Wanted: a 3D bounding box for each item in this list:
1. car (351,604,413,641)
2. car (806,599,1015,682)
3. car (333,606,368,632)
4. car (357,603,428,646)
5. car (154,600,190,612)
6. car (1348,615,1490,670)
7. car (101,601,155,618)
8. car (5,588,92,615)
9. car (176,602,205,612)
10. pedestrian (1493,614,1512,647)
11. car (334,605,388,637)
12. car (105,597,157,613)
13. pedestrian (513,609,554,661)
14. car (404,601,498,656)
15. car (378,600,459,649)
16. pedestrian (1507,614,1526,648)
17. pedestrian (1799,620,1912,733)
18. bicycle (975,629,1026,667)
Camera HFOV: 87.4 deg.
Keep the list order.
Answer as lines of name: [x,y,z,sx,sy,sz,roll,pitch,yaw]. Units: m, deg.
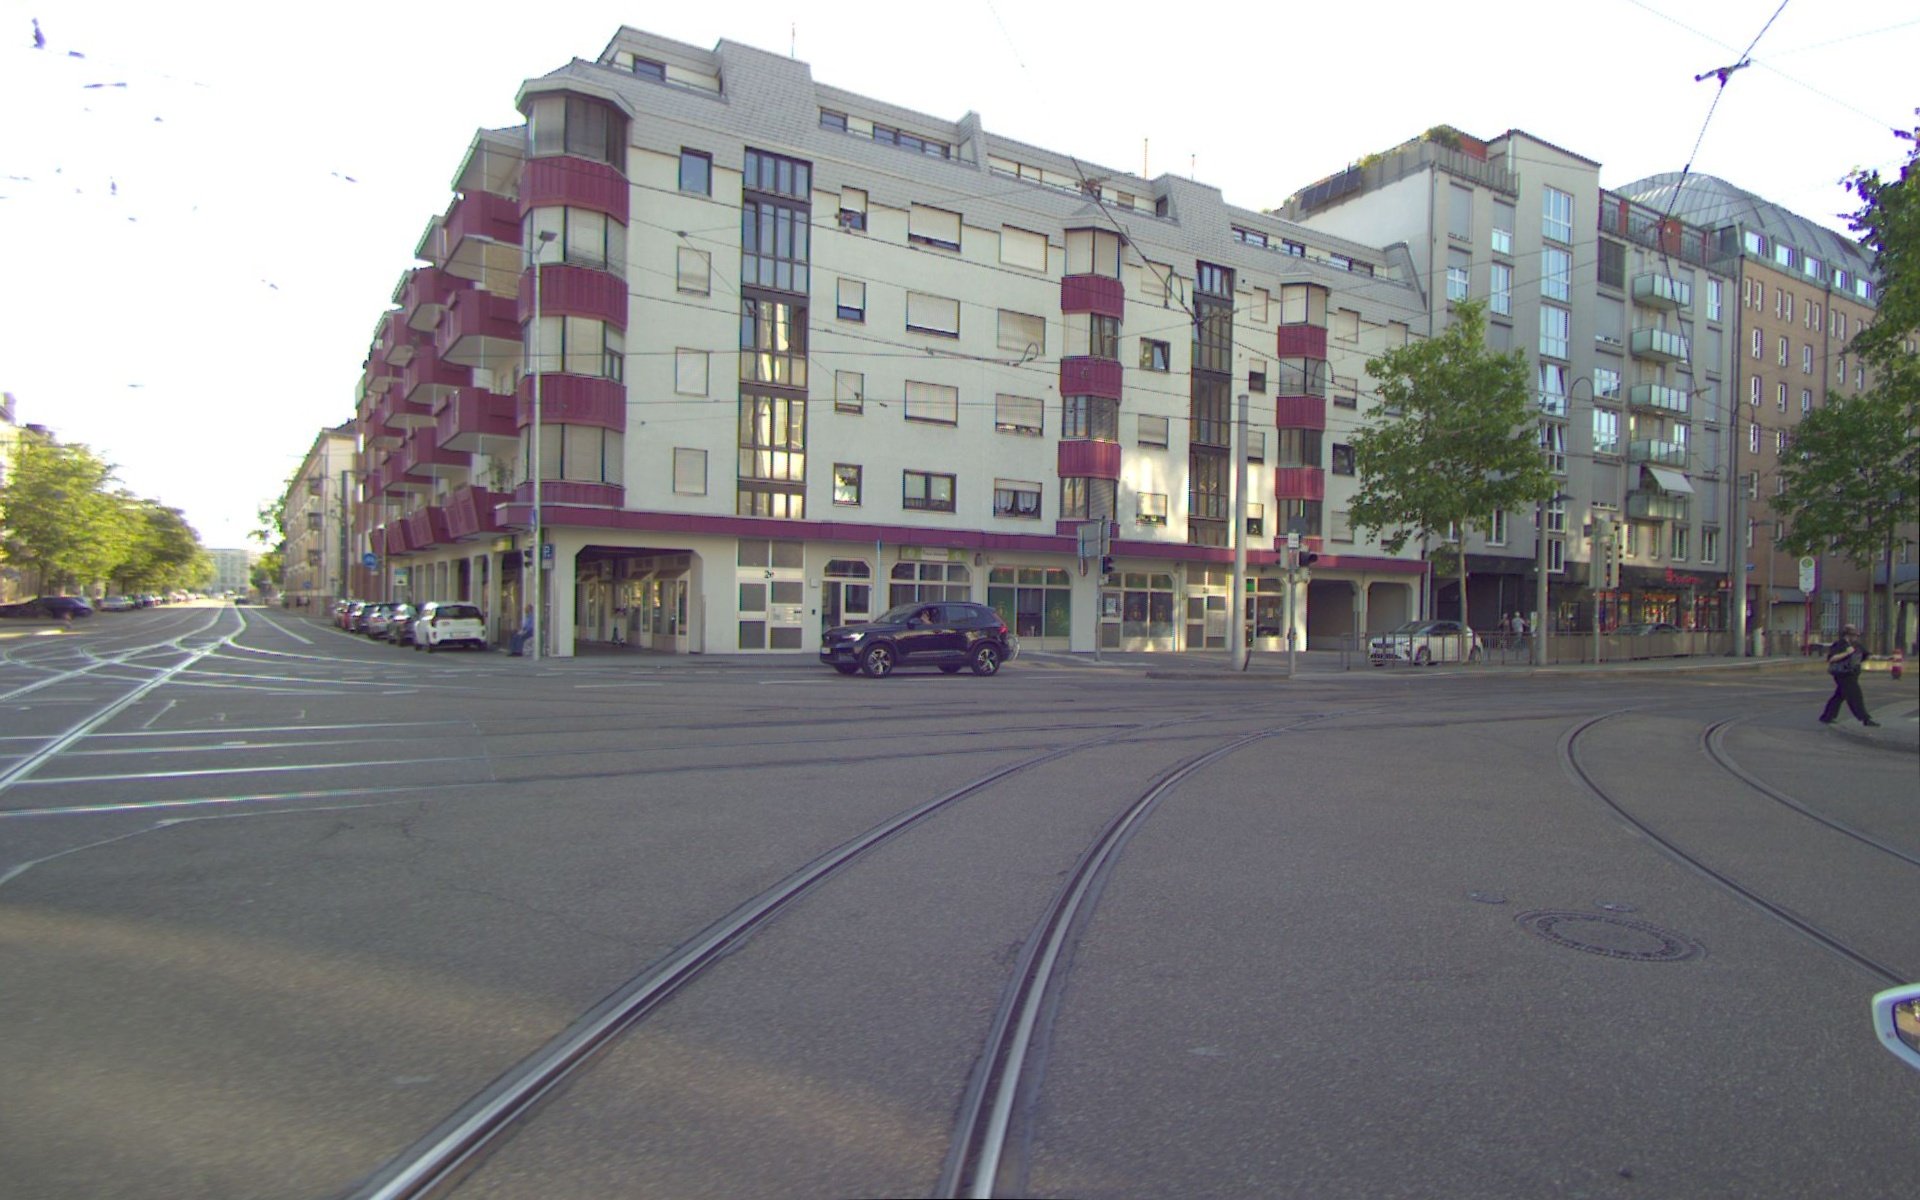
car: [-26.436,1.006,45.840,1.981,1.576,4.537,1,-1,-36]
car: [-1.080,0.861,22.269,4.209,1.695,1.946,1,0,-29]
car: [-34.160,1.053,56.281,1.446,1.351,3.151,1,0,-35]
car: [-22.840,0.957,40.362,1.981,1.576,4.537,1,-1,-36]
car: [-100.791,0.737,128.517,3.514,1.420,1.683,2,1,-34]
car: [14.412,1.301,31.494,4.209,1.616,1.946,1,0,-29]
car: [-73.693,0.837,89.023,3.514,1.420,1.683,2,1,-34]
car: [-58.695,0.111,64.807,3.964,1.595,1.978,2,-1,-38]
car: [-119.980,1.064,156.659,3.514,1.420,1.683,2,1,-34]
pedestrian: [25.070,1.391,46.446,0.581,1.514,0.531,1,0,-31]
car: [-31.203,1.073,52.280,1.981,1.576,4.537,1,-1,-36]
car: [-75.574,0.474,91.621,3.514,1.420,1.684,1,-1,-34]
pedestrian: [-11.726,0.946,27.586,0.829,1.402,0.850,1,0,-39]
car: [-15.797,0.840,31.079,1.981,1.576,3.959,1,-1,-36]
car: [-19.087,0.830,35.321,1.981,1.576,4.081,1,-1,-36]
pedestrian: [25.484,1.410,46.018,0.581,1.514,0.531,1,0,-31]
pedestrian: [13.145,1.097,14.764,0.685,1.565,1.042,1,0,-25]
bicycle: [1.139,1.363,28.861,0.547,0.998,1.834,1,0,-30]
